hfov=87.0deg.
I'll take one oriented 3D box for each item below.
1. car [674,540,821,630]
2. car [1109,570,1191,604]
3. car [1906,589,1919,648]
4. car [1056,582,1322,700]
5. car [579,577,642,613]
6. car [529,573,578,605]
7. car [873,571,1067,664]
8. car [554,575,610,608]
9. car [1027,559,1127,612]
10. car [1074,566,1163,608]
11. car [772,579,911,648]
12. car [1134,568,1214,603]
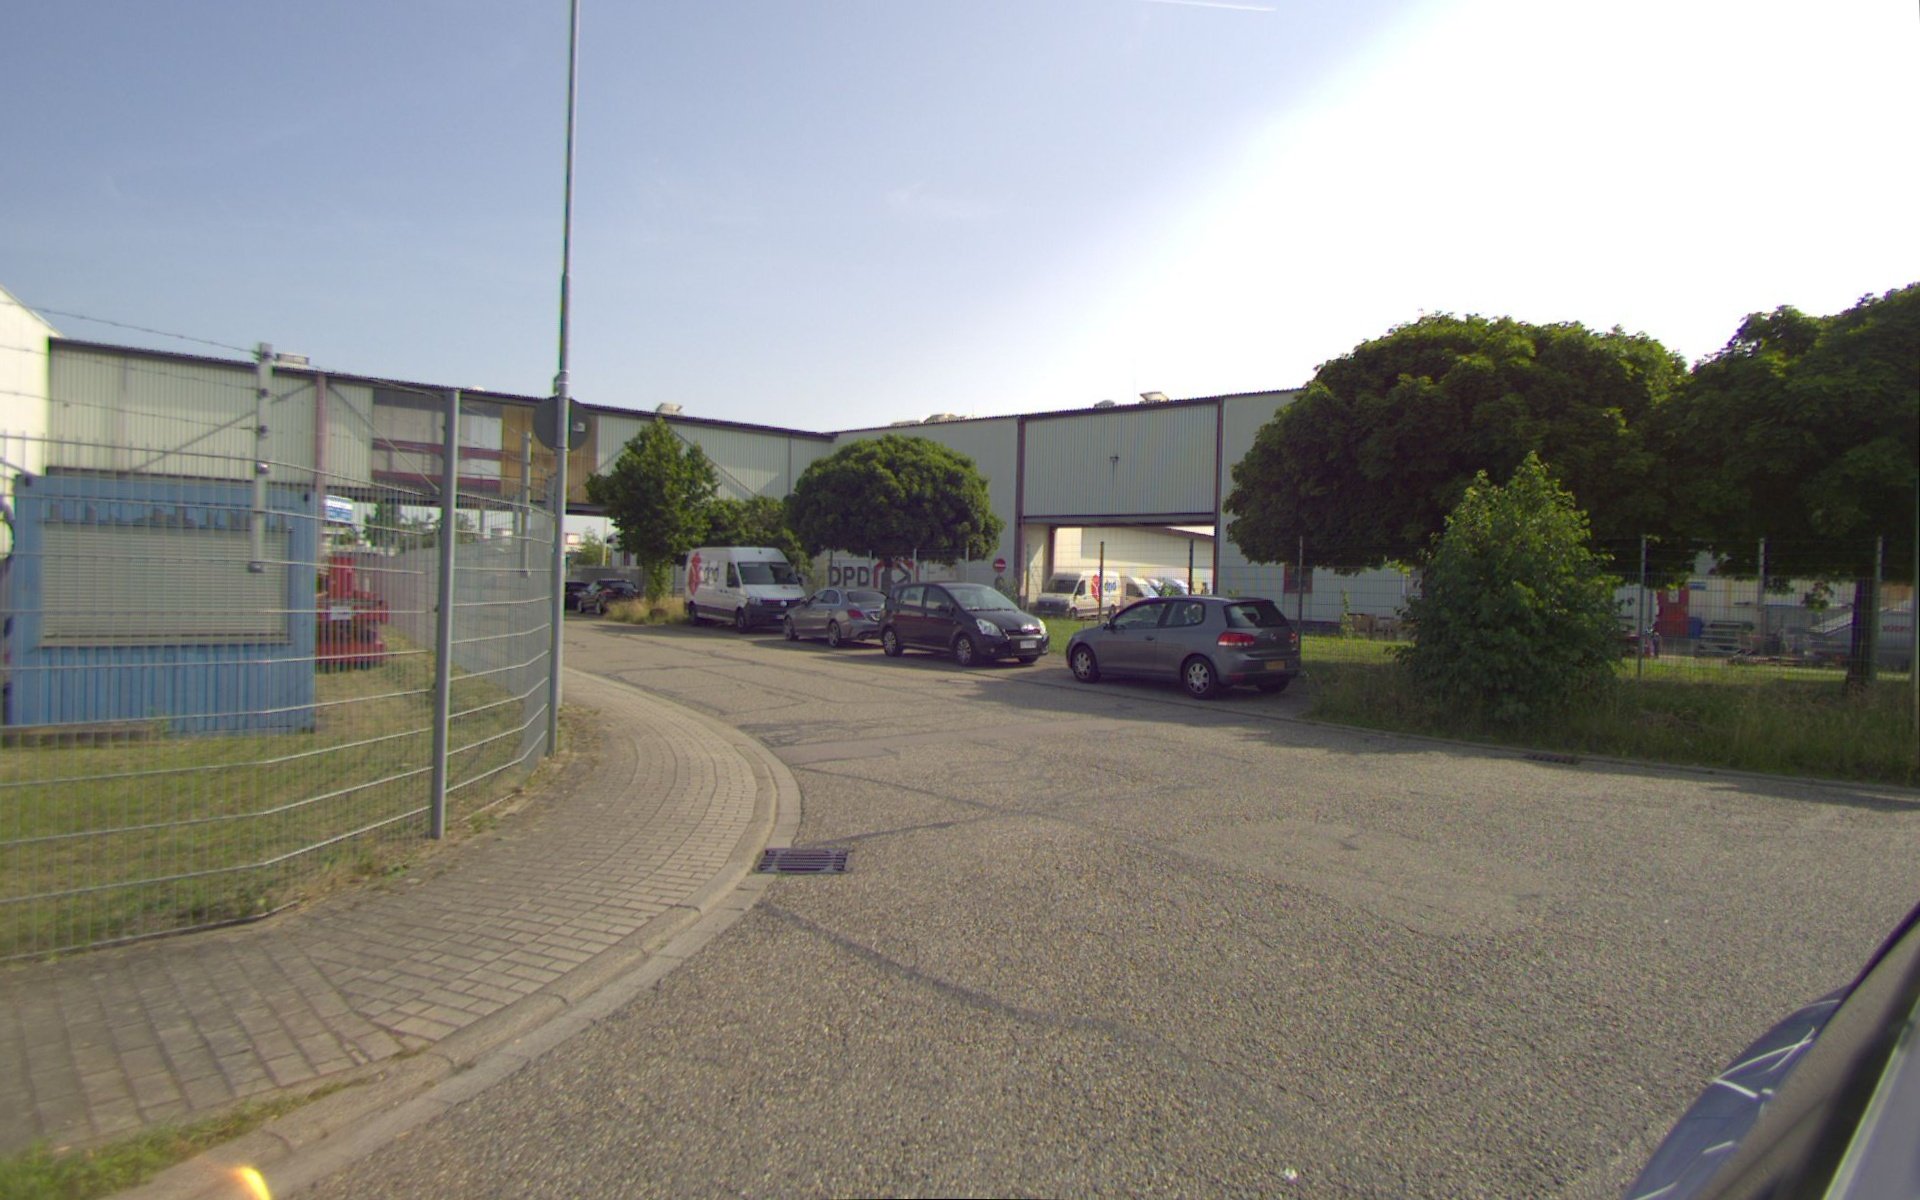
[{"bbox_3d":[-6.819,-0.508,31.726,2.165,2.514,6.852,-2,2,-33],"label":"car"},{"bbox_3d":[12.201,-0.859,65.041,4.826,1.989,1.904,3,1,40],"label":"car"},{"bbox_3d":[47.143,0.953,45.633,6.237,2.682,2.183,2,1,37],"label":"car"},{"bbox_3d":[3.421,0.516,15.786,1.695,1.542,3.962,-2,2,-34],"label":"car"},{"bbox_3d":[-14.686,-0.239,42.441,1.694,1.404,3.788,1,1,-32],"label":"car"},{"bbox_3d":[-20.892,-0.591,51.937,1.694,1.543,3.788,1,1,-32],"label":"car"},{"bbox_3d":[0.081,0.269,20.560,1.842,1.646,4.270,-2,2,-34],"label":"car"},{"bbox_3d":[-17.407,-0.395,46.531,1.694,1.404,3.788,1,1,-32],"label":"car"},{"bbox_3d":[6.151,-0.723,52.273,2.162,2.549,6.613,2,1,36],"label":"car"},{"bbox_3d":[9.280,-0.780,59.415,4.826,2.317,1.904,3,1,40],"label":"car"},{"bbox_3d":[-3.053,0.250,25.288,1.694,1.536,4.496,-2,2,-32],"label":"car"},{"bbox_3d":[14.192,-0.984,67.153,4.826,2.110,1.904,3,1,40],"label":"car"}]
